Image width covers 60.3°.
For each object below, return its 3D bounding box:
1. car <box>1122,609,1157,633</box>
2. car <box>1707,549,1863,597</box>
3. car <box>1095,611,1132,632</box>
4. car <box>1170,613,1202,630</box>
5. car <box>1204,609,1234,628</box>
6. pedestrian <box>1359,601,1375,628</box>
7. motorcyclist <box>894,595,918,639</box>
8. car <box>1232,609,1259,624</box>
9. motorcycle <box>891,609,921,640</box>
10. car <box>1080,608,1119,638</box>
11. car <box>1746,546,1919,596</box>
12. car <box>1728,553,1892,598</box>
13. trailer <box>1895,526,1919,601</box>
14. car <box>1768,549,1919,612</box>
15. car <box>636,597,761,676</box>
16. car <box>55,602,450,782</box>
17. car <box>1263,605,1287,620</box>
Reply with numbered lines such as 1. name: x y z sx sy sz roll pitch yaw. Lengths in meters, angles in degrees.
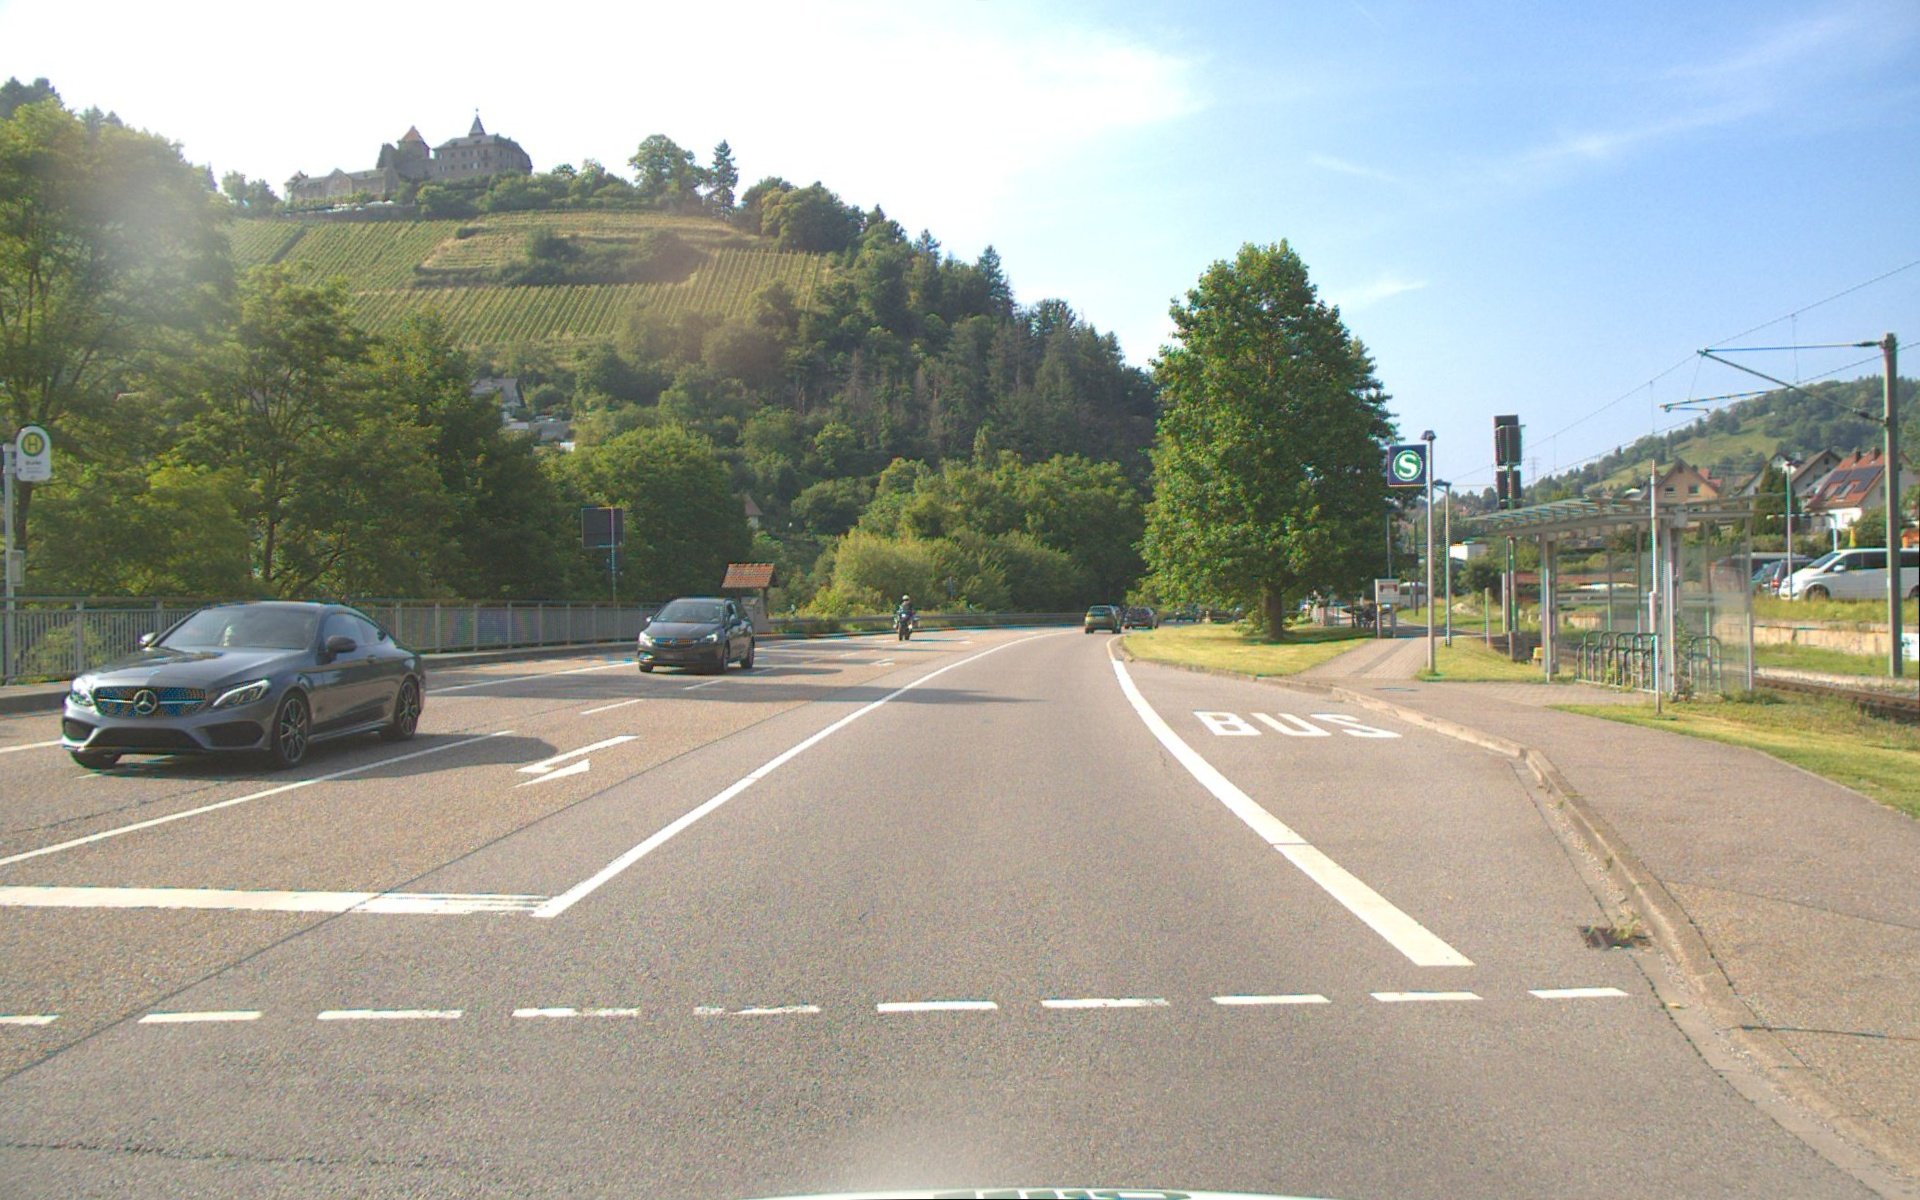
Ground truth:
1. car: 11.796 1.348 108.524 1.801 1.485 3.716 -2 -1 14
2. car: 30.864 -1.004 62.019 4.845 1.720 1.938 -1 0 9
3. car: 11.279 1.558 121.568 1.641 1.485 4.202 0 0 21
4. car: 20.476 1.956 149.976 1.813 1.495 4.541 1 0 22
5. car: 22.387 1.606 142.883 1.769 1.478 3.648 -3 -1 20
6. pedestrian: 18.275 0.658 74.251 0.622 1.181 0.727 -2 -1 17
7. motorcyclist: -2.233 0.714 68.581 0.827 1.815 1.172 0 0 6
8. car: 29.664 1.702 171.858 1.660 1.427 4.198 0 0 25
9. motorcycle: -2.241 1.012 68.510 0.952 1.242 2.573 0 0 4
10. car: 7.589 1.236 89.707 1.691 1.482 3.413 -2 -1 12
11. car: 29.947 -0.966 56.859 4.845 1.615 2.143 -1 0 9
12. car: 30.452 -0.861 59.381 4.845 1.494 1.897 -1 0 9
13. trailer: 53.494 -2.030 91.576 2.556 3.961 7.722 -3 -1 28
14. car: 29.557 -0.633 54.488 4.845 1.977 2.143 -1 0 9
15. car: -5.344 0.716 34.371 1.748 1.505 4.754 0 0 1
16. car: -6.374 0.742 15.562 1.735 1.401 4.643 1 0 -1
17. car: 31.630 1.249 165.789 1.771 1.433 3.774 -3 -1 19
